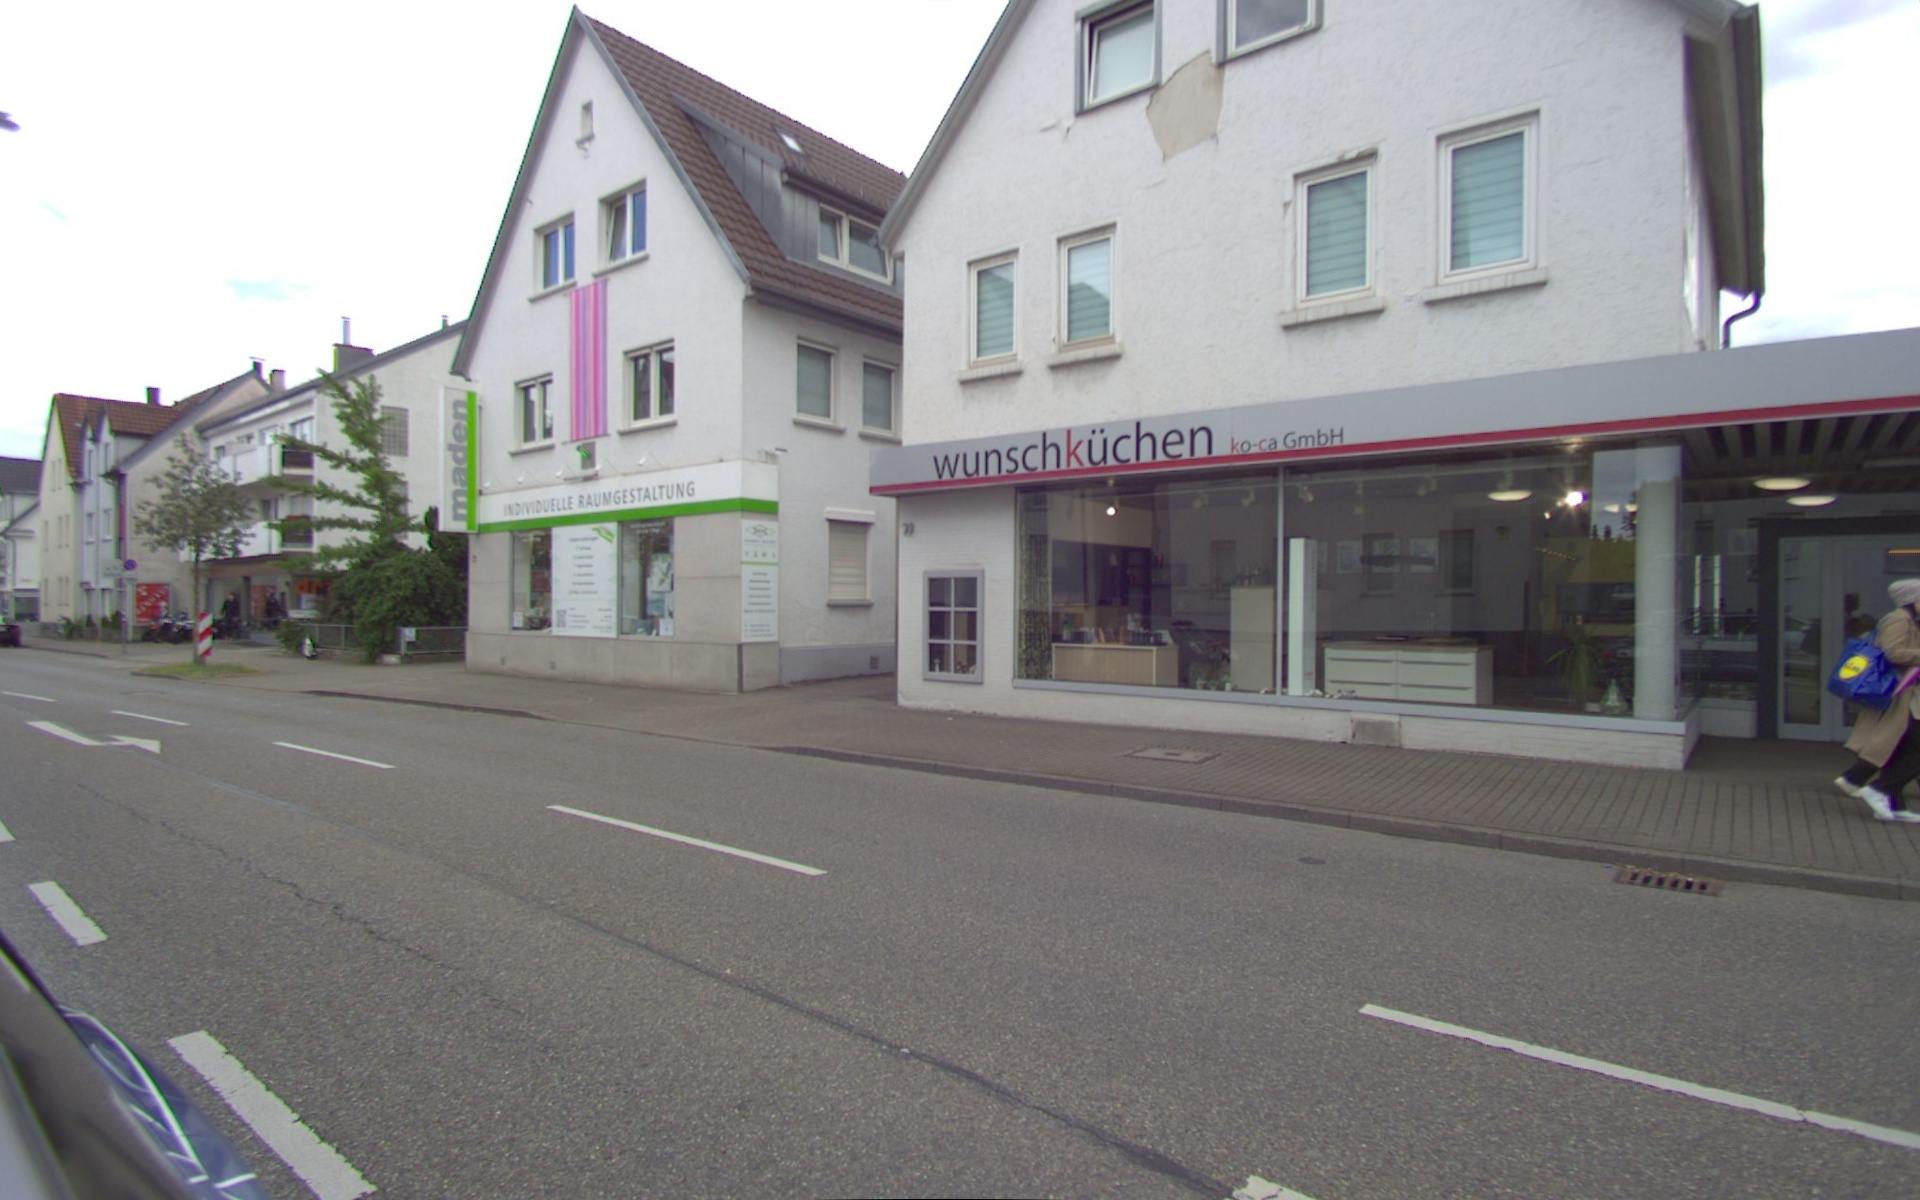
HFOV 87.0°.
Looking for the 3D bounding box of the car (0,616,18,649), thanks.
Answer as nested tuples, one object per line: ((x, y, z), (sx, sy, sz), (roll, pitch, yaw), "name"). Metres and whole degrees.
((-42.500, 1.390, 43.984), (3.993, 1.423, 1.614), (-1, -2, 37), "car")

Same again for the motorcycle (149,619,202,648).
((-32.826, 1.394, 42.358), (0.558, 1.114, 1.657), (-1, 1, 40), "motorcycle")

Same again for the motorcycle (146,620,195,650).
((-31.847, 1.391, 40.850), (1.494, 1.114, 0.590), (-2, 1, -44), "motorcycle")

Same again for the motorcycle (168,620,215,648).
((-30.911, 1.356, 40.724), (0.525, 1.030, 1.411), (-1, 1, 40), "motorcycle")

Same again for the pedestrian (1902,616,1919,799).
((7.038, 0.751, 7.099), (0.548, 1.271, 0.379), (-1, 0, 30), "pedestrian")

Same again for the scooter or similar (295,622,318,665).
((-18.333, 1.200, 28.379), (0.458, 1.132, 1.832), (-1, -1, -36), "scooter or similar")

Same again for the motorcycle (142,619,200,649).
((-32.425, 1.394, 41.620), (0.504, 1.114, 1.811), (-1, 1, 39), "motorcycle")

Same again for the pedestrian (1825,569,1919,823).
((6.350, 0.609, 6.666), (0.863, 1.617, 0.635), (-1, 0, 30), "pedestrian")
